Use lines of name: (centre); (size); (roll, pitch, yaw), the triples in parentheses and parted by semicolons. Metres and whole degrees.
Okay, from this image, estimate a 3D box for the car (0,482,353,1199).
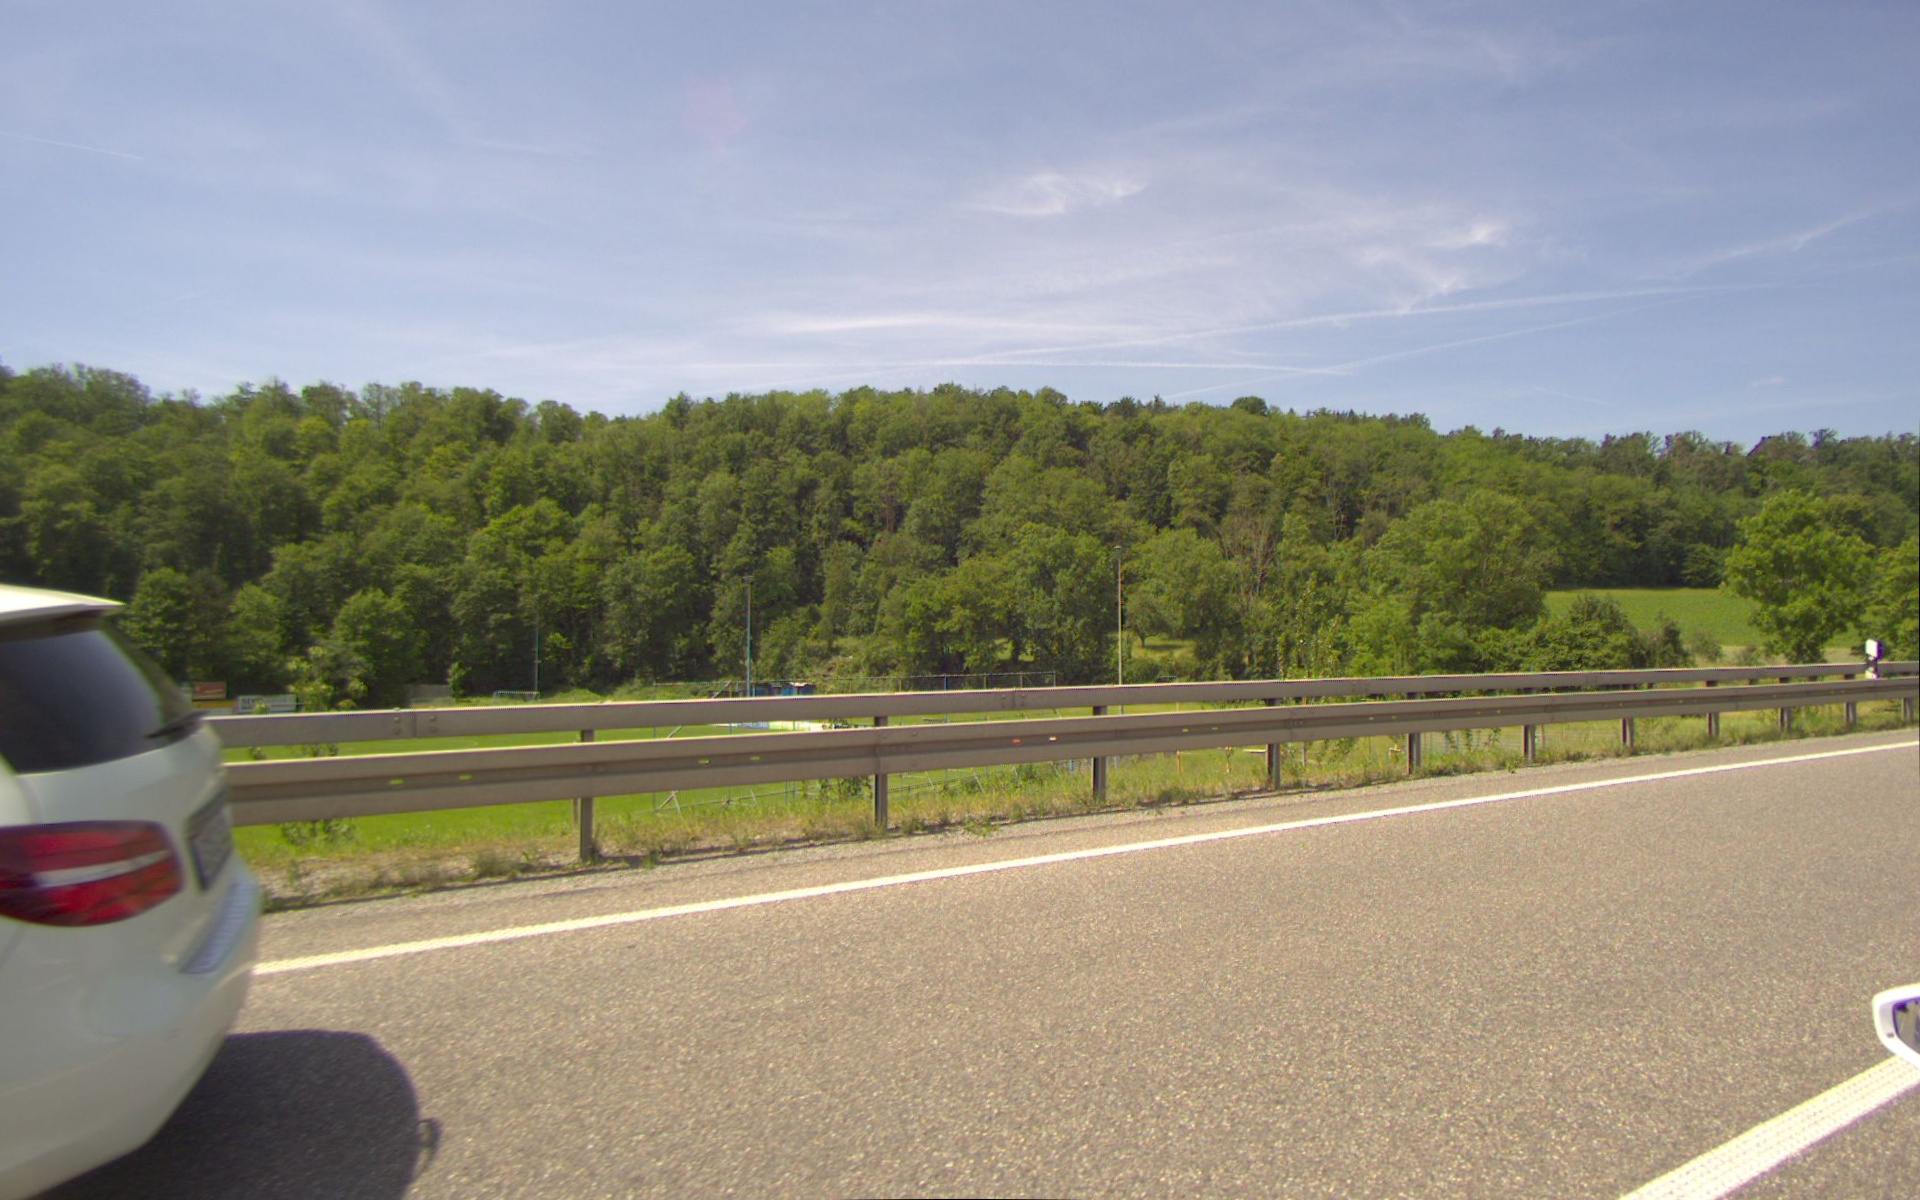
car: (-3.491, 0.524, 1.875); (3.953, 1.532, 1.749); (1, -1, -30)
